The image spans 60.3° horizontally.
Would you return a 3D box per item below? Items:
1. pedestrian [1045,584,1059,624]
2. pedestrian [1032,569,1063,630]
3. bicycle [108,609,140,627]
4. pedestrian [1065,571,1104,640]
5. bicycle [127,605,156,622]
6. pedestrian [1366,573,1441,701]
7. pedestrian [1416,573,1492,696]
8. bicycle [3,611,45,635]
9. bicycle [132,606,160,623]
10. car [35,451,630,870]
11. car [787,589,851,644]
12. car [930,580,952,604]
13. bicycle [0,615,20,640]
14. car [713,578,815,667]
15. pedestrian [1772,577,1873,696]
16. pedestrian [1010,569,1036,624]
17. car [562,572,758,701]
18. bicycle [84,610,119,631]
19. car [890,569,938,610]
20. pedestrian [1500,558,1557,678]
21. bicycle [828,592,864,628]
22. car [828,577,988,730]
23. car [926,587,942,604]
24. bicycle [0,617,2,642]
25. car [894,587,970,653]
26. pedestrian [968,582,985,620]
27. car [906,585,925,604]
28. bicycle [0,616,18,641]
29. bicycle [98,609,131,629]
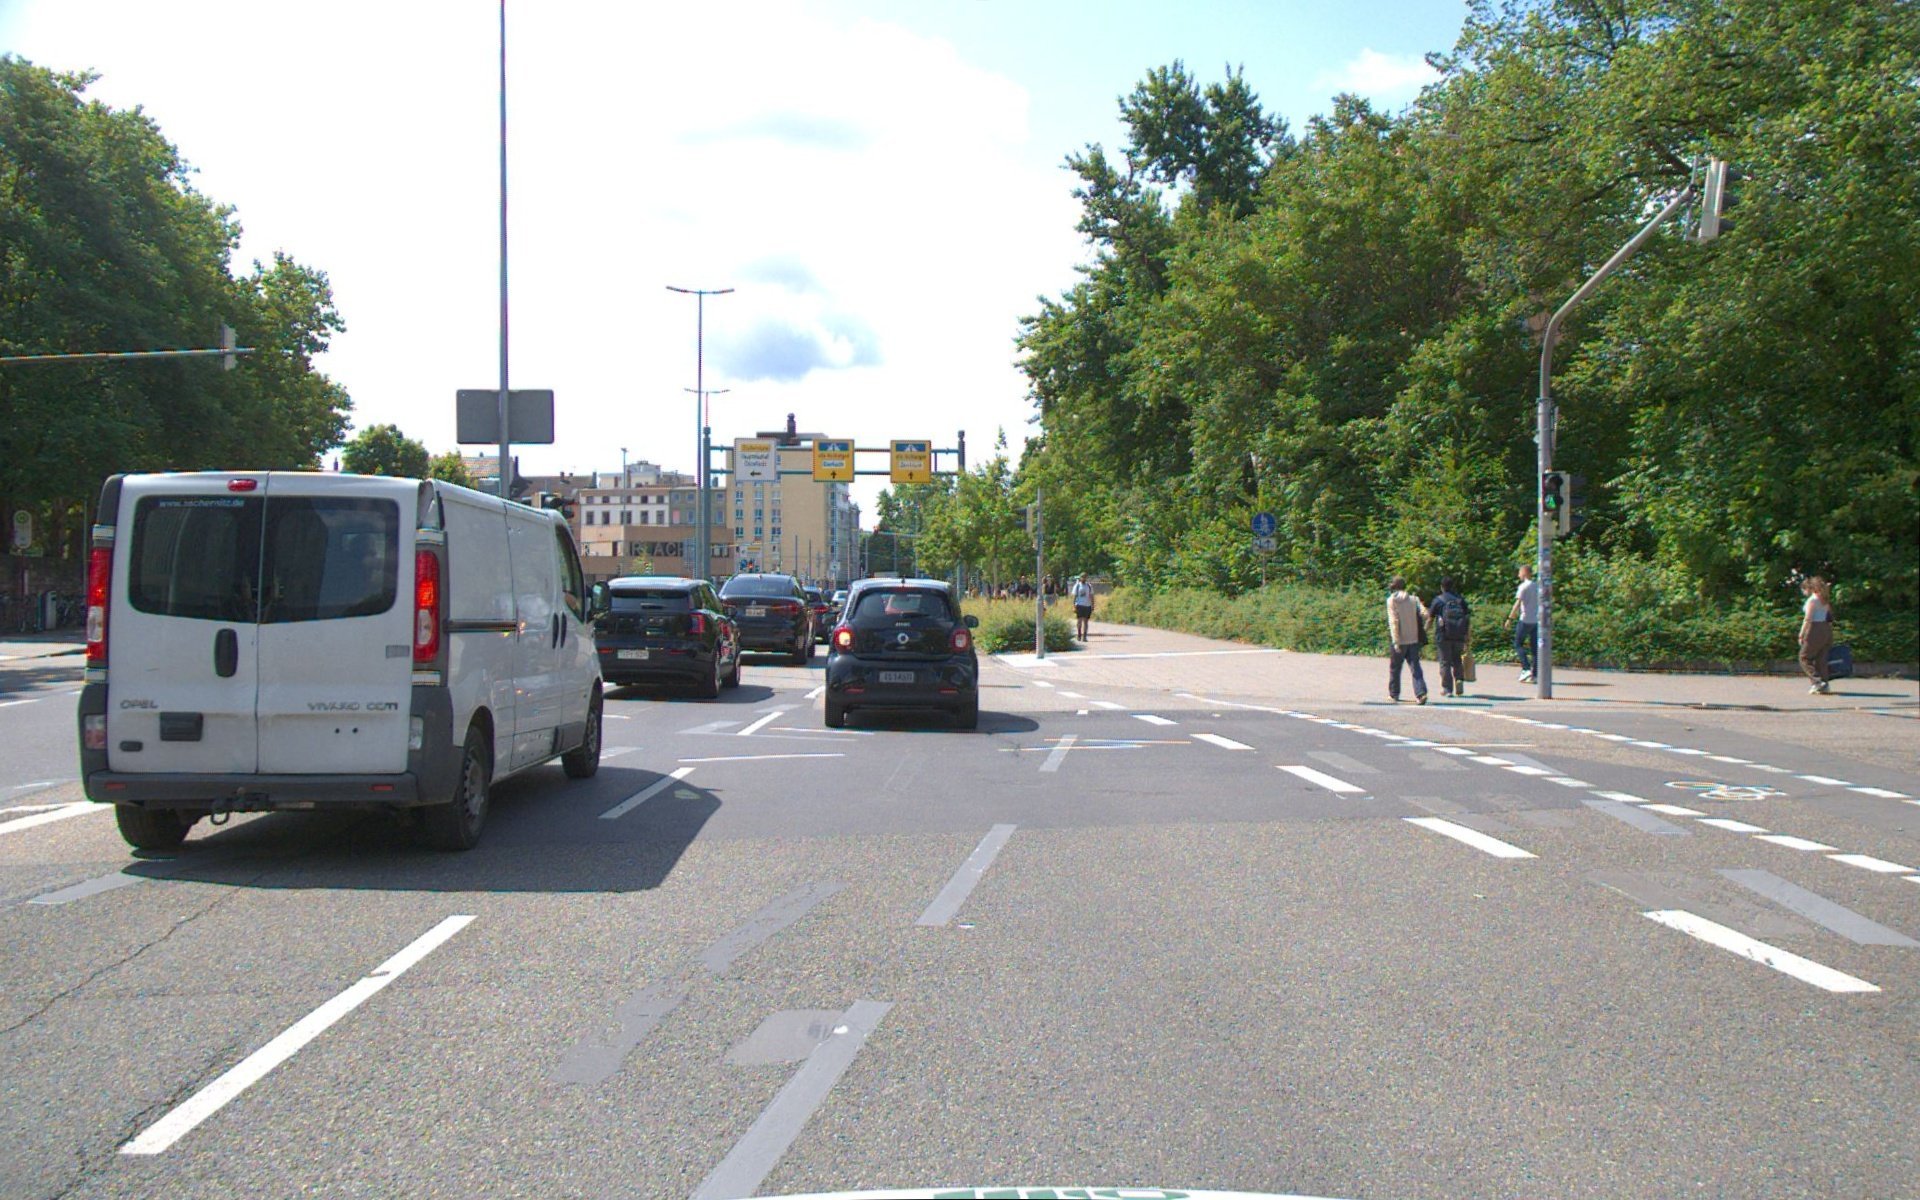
[{"bbox_3d":[4.459,0.192,79.995,0.493,1.923,0.558,2,-1,-15],"label":"pedestrian"},{"bbox_3d":[2.707,-0.017,51.418,0.822,1.901,1.018,0,0,-6],"label":"pedestrian"},{"bbox_3d":[-31.940,0.688,63.227,0.402,0.694,1.000,1,-1,44],"label":"bicycle"},{"bbox_3d":[3.189,0.137,42.526,0.834,1.730,0.930,-1,0,-4],"label":"pedestrian"},{"bbox_3d":[-33.479,0.556,67.651,0.402,0.694,1.000,1,-1,44],"label":"bicycle"},{"bbox_3d":[6.218,0.496,23.229,0.778,1.734,1.183,1,1,4],"label":"pedestrian"},{"bbox_3d":[7.153,0.476,23.996,0.778,1.734,1.183,1,1,4],"label":"pedestrian"},{"bbox_3d":[-27.957,0.688,49.406,0.402,0.694,1.000,1,-1,44],"label":"bicycle"},{"bbox_3d":[-35.155,0.616,71.457,0.402,0.694,1.000,1,-1,44],"label":"bicycle"},{"bbox_3d":[-3.537,0.283,10.580,1.966,1.989,5.192,1,0,-2],"label":"car"},{"bbox_3d":[-3.644,0.399,43.065,1.579,1.348,3.514,1,0,-4],"label":"car"},{"bbox_3d":[-1.685,-0.673,146.446,1.904,1.997,3.949,2,0,-1],"label":"car"},{"bbox_3d":[-27.293,0.774,46.901,0.402,0.694,1.000,1,-1,44],"label":"bicycle"},{"bbox_3d":[-3.864,0.405,33.171,1.791,1.629,4.389,1,0,-4],"label":"car"},{"bbox_3d":[12.525,0.506,24.043,0.844,1.654,1.011,-2,2,-27],"label":"pedestrian"},{"bbox_3d":[2.310,-0.141,60.652,0.822,2.003,0.860,0,0,-6],"label":"pedestrian"},{"bbox_3d":[-4.027,0.440,23.005,1.977,1.557,4.885,1,0,-2],"label":"car"},{"bbox_3d":[-30.285,0.723,58.328,0.402,0.694,1.000,1,-1,44],"label":"bicycle"},{"bbox_3d":[-1.728,-0.396,61.046,1.580,1.436,3.514,2,0,-4],"label":"car"},{"bbox_3d":[8.942,0.273,26.041,0.657,1.852,0.704,1,1,4],"label":"pedestrian"},{"bbox_3d":[-6.926,0.605,100.142,1.955,2.049,3.994,2,0,-6],"label":"bicycle"},{"bbox_3d":[-0.648,0.537,18.347,1.580,1.511,3.514,1,0,-4],"label":"car"},{"bbox_3d":[-3.249,-0.501,204.295,1.904,1.997,3.949,2,0,-1],"label":"car"},{"bbox_3d":[-26.646,0.789,44.935,0.402,0.694,1.000,1,-1,44],"label":"bicycle"},{"bbox_3d":[-0.703,0.459,39.282,1.580,1.436,3.514,2,0,-4],"label":"car"},{"bbox_3d":[0.866,0.054,87.830,0.822,2.003,0.860,0,0,-6],"label":"pedestrian"},{"bbox_3d":[-4.851,-0.642,181.220,1.904,1.997,3.949,2,0,-1],"label":"car"},{"bbox_3d":[-26.942,0.785,46.195,0.402,0.694,1.000,1,-1,44],"label":"bicycle"},{"bbox_3d":[-31.292,0.702,61.195,0.402,0.694,1.000,1,-1,44],"label":"bicycle"}]
